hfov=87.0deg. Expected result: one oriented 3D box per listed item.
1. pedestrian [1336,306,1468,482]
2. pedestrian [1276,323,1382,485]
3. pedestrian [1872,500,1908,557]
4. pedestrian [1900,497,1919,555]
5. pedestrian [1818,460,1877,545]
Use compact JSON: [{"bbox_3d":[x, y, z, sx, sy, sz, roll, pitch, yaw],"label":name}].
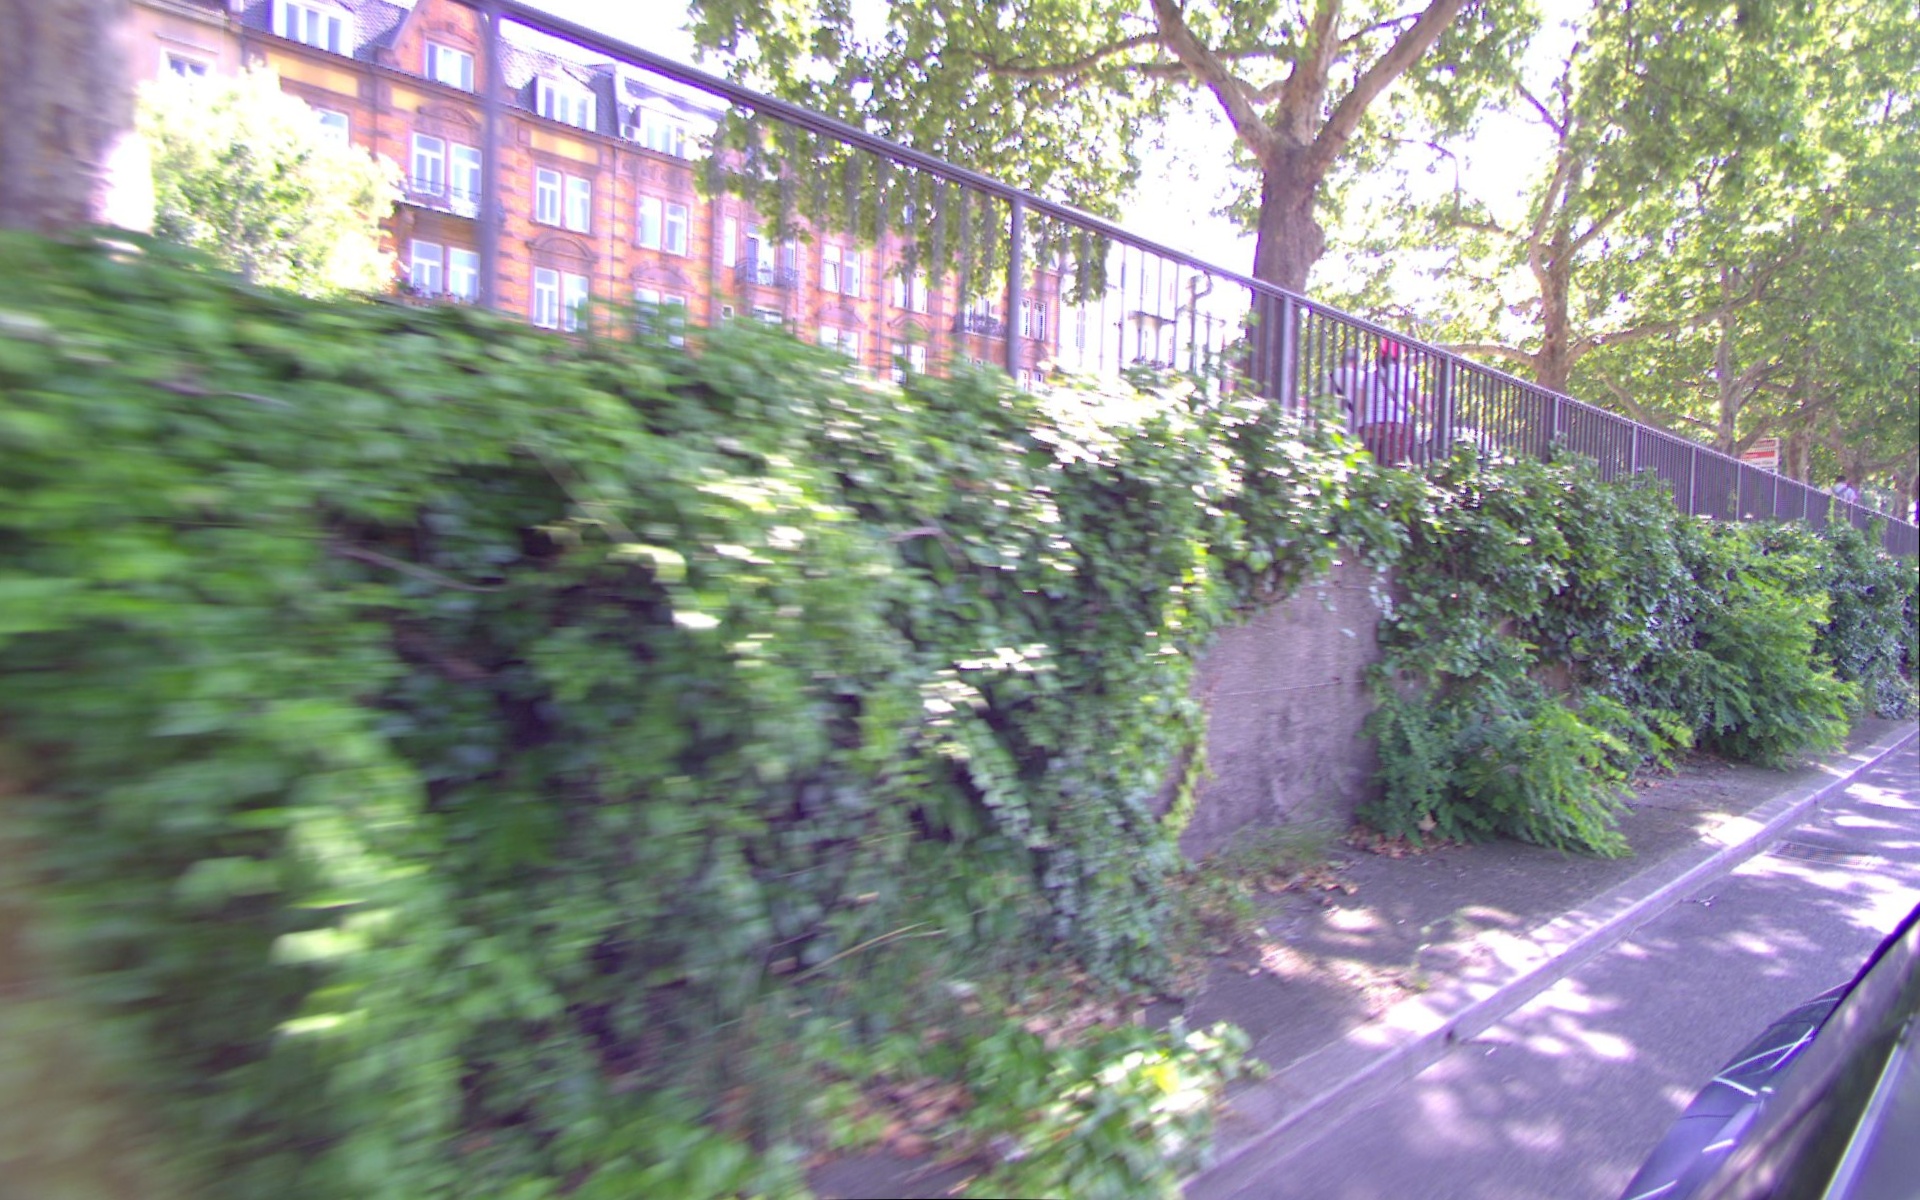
[{"bbox_3d":[3.617,-1.639,8.288,0.729,1.259,0.712,0,2,-41],"label":"pedestrian"},{"bbox_3d":[3.212,-1.667,8.808,0.679,1.259,0.577,0,2,-41],"label":"pedestrian"},{"bbox_3d":[27.415,-2.100,29.838,0.639,1.611,0.666,1,2,-41],"label":"pedestrian"},{"bbox_3d":[27.332,-2.090,28.798,0.796,1.611,0.738,0,2,-41],"label":"pedestrian"},{"bbox_3d":[17.689,-1.920,20.166,0.796,1.611,0.738,0,2,-41],"label":"pedestrian"}]
